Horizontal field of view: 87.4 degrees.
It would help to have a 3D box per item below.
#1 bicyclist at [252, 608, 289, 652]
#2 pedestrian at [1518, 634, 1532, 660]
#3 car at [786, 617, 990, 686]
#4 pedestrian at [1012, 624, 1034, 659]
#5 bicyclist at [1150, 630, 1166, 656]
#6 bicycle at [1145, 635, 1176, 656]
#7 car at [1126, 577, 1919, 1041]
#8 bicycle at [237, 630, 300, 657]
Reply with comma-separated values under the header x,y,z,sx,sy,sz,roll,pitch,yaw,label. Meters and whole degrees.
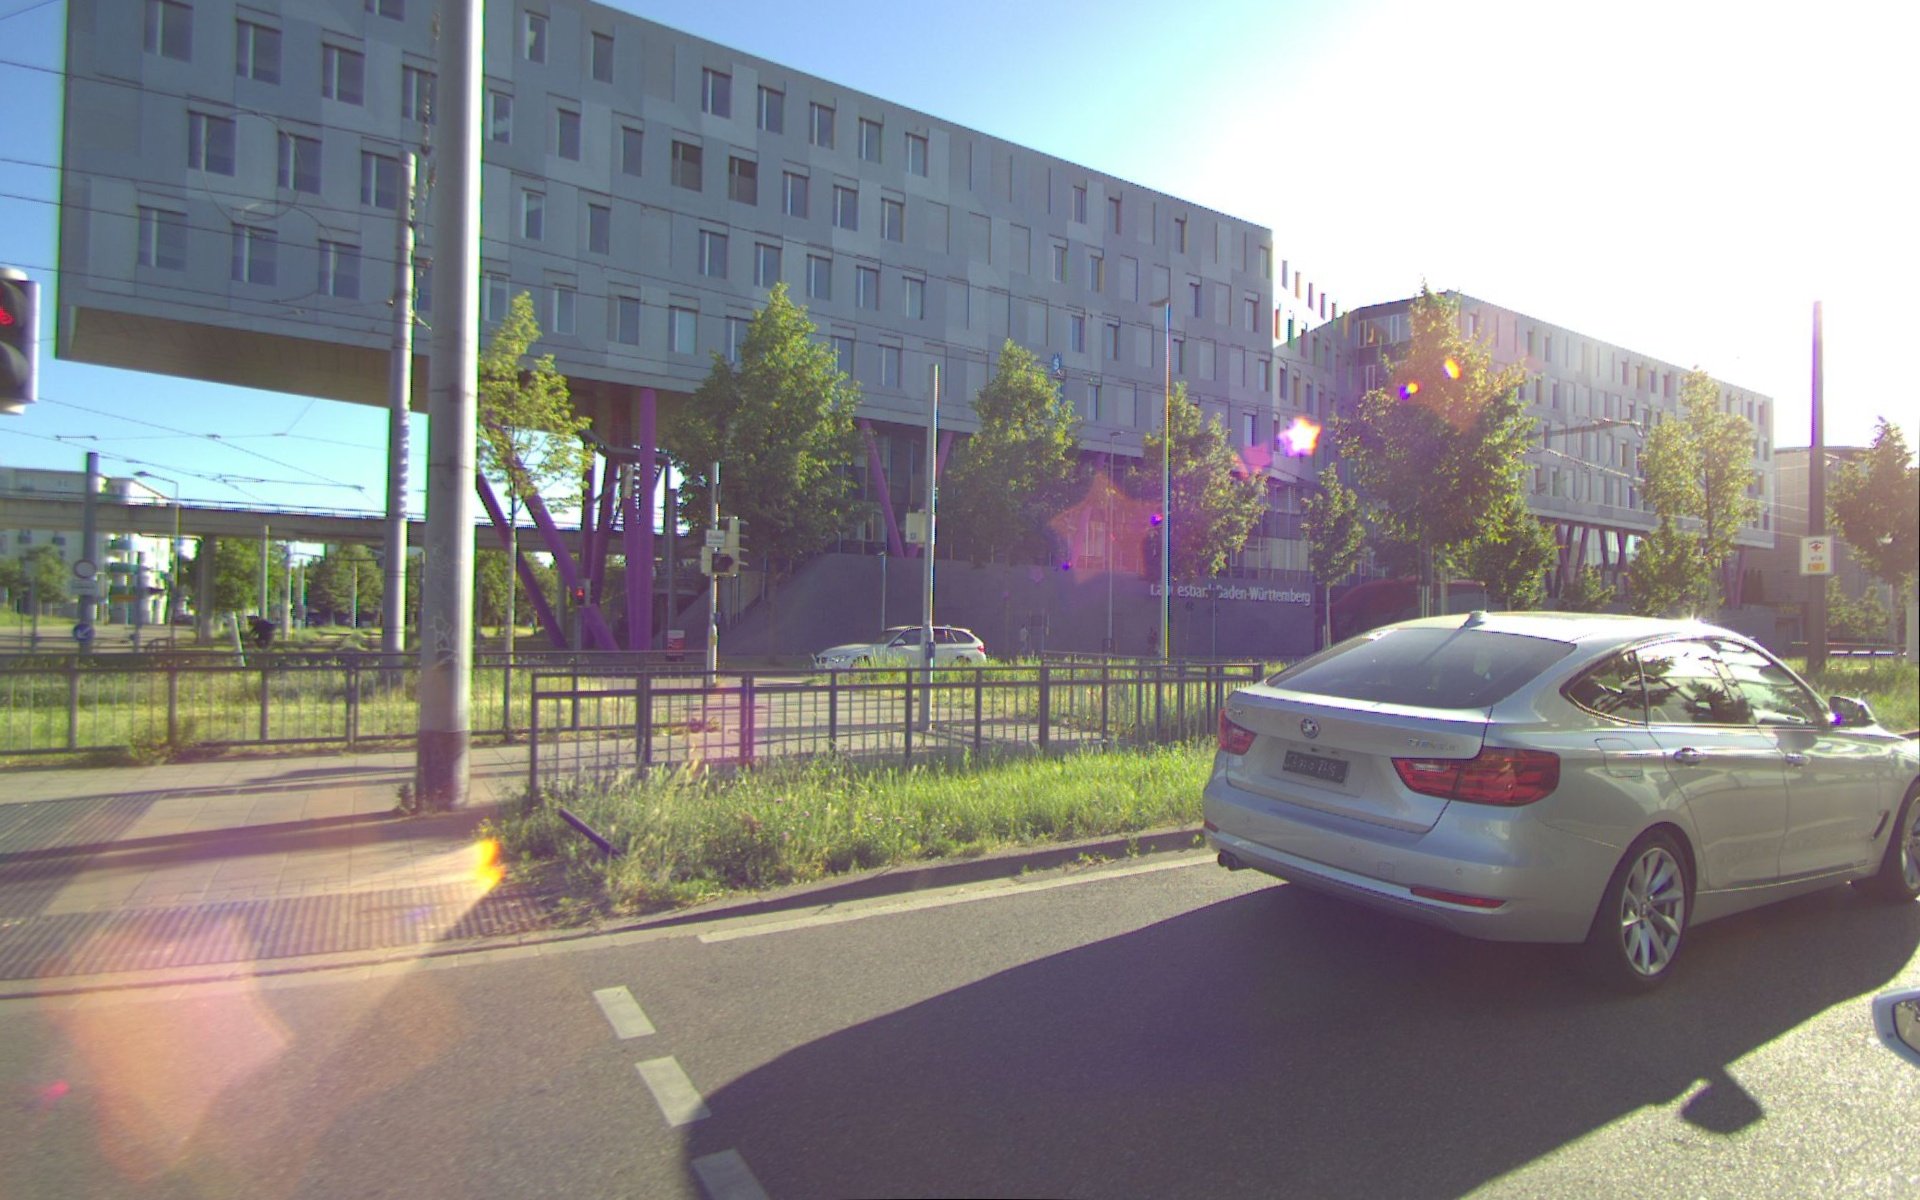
x,y,z,sx,sy,sz,roll,pitch,yaw,label
-23.442,1.022,34.177,0.947,1.454,0.568,1,-1,-29,bicyclist
45.431,3.752,80.806,0.681,2.040,0.732,2,-1,-31,pedestrian
-1.781,1.281,25.563,4.819,1.583,1.982,2,-1,-33,car
3.337,2.207,53.118,0.861,1.846,0.717,2,-1,-31,pedestrian
11.577,2.494,58.777,0.754,1.515,0.555,2,-1,-32,bicyclist
11.705,2.659,58.545,1.953,1.188,0.517,2,-1,-32,bicycle
3.360,0.757,5.374,4.854,1.547,1.789,2,0,-31,car
-23.488,1.483,34.146,1.672,0.874,0.573,2,-1,-30,bicycle
